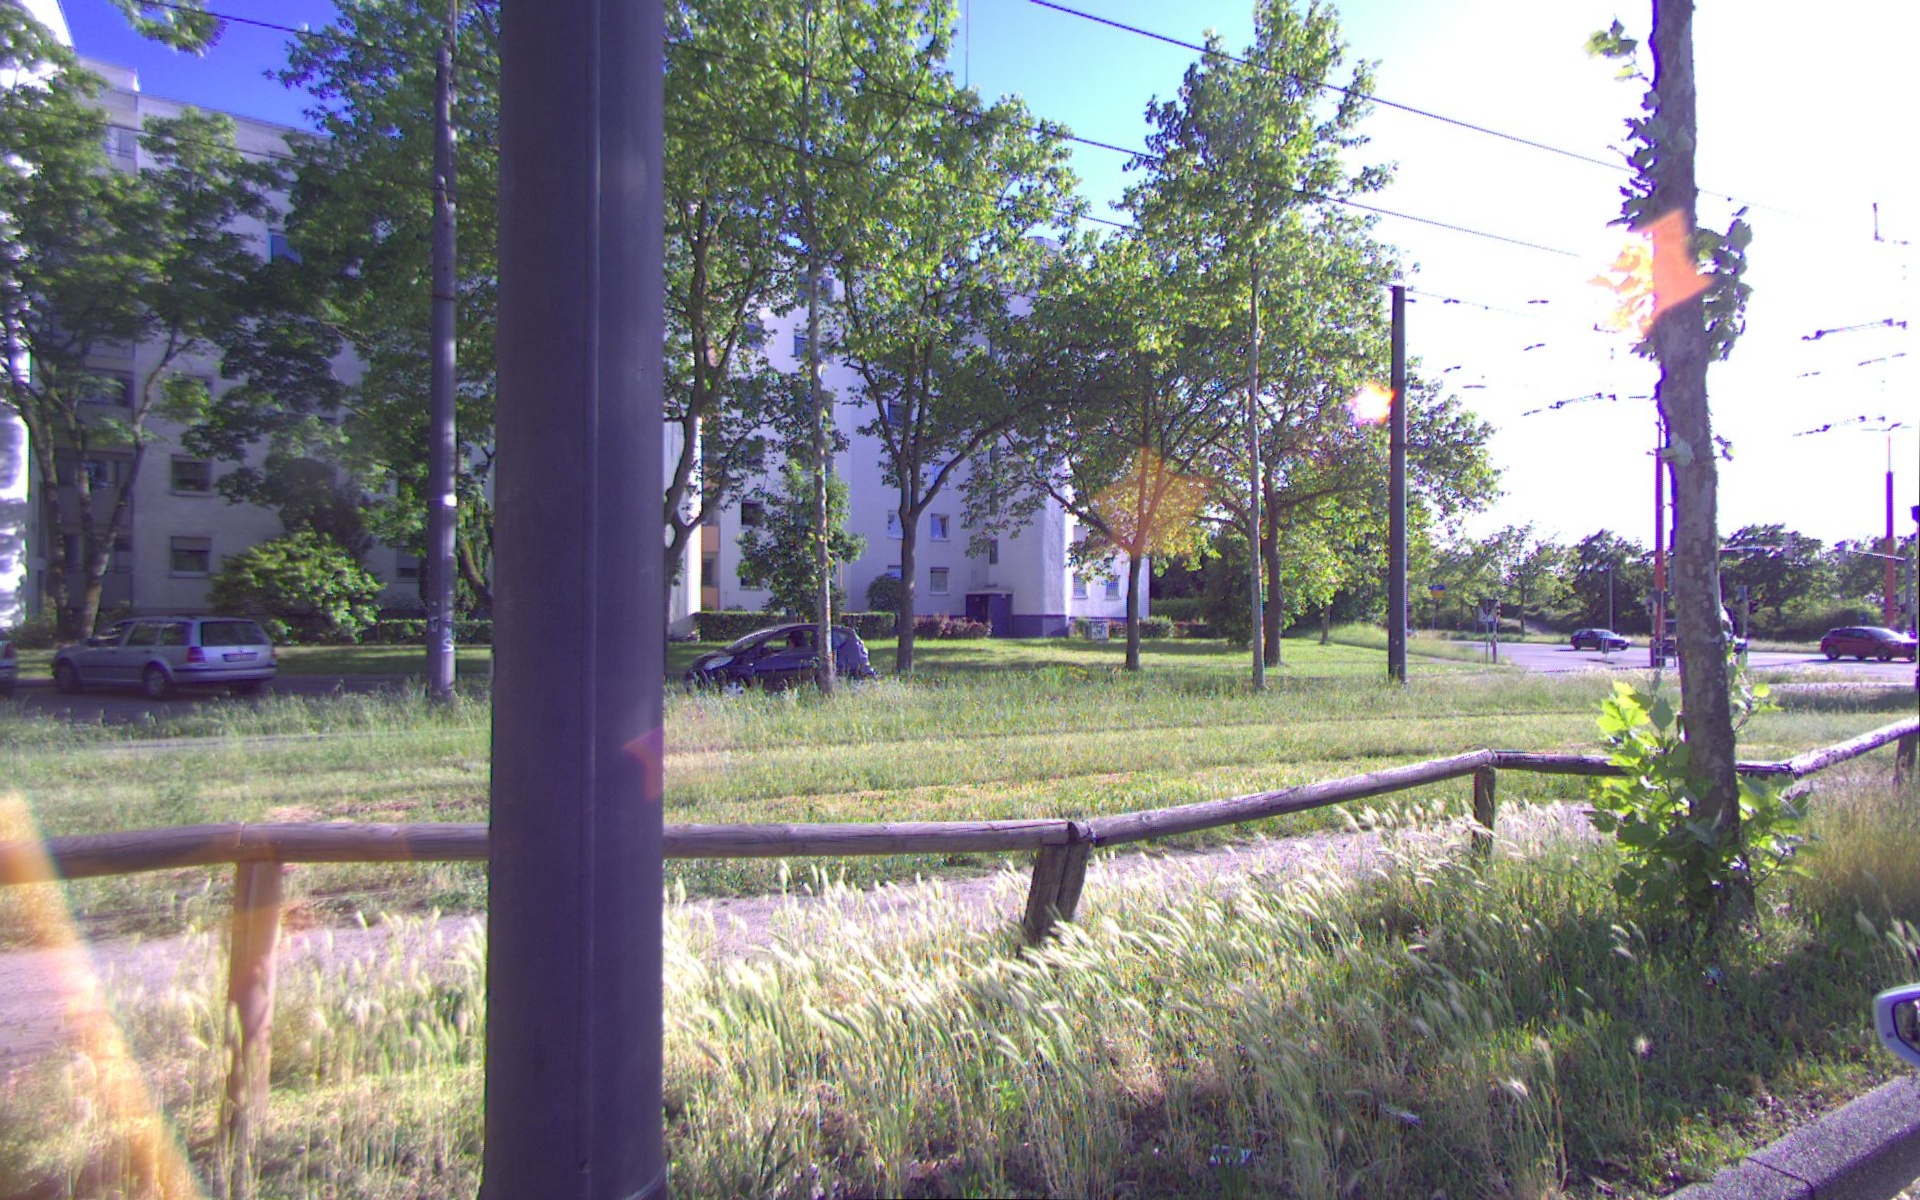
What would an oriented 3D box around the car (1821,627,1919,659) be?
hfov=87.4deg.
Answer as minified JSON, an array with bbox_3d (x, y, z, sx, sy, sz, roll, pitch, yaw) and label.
[{"bbox_3d":[46.043,2.134,50.400,1.877,1.483,4.373,1,-1,-2],"label":"car"}]

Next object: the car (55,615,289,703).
[{"bbox_3d":[-14.472,1.026,18.487,3.609,1.452,1.732,0,-1,20],"label":"car"}]

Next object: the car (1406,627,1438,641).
[{"bbox_3d":[47.354,3.506,102.933,1.707,1.327,3.817,1,-1,3],"label":"car"}]

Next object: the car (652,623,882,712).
[{"bbox_3d":[-3.462,1.162,18.072,3.710,1.439,1.814,1,-1,-28],"label":"car"}]

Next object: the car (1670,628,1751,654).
[{"bbox_3d":[45.629,2.478,61.186,1.877,1.483,4.056,1,-1,-1],"label":"car"}]

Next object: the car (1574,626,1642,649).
[{"bbox_3d":[45.768,2.628,71.029,1.877,1.483,4.239,1,-1,-3],"label":"car"}]

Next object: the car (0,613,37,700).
[{"bbox_3d":[-17.916,0.927,17.143,3.609,1.452,1.703,0,-1,20],"label":"car"}]
